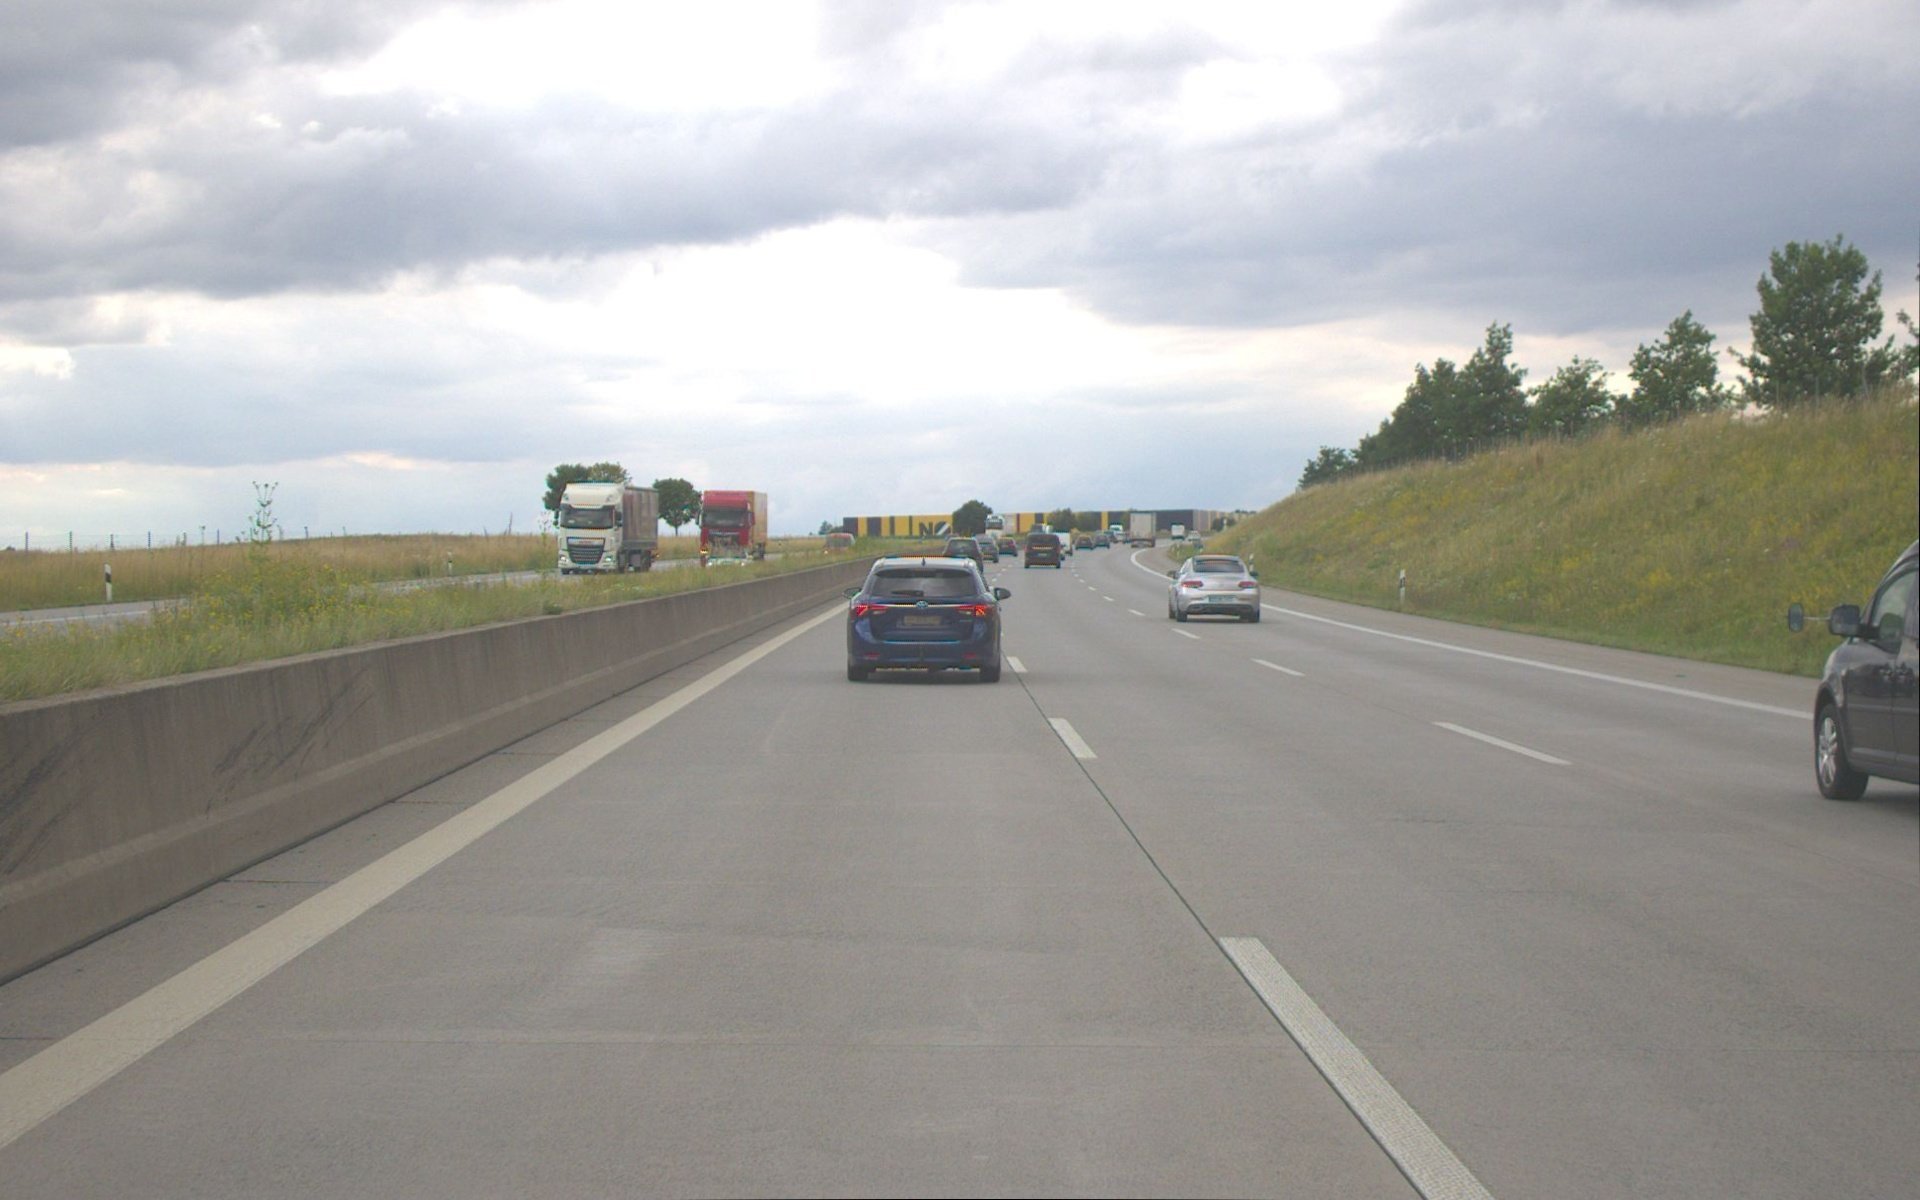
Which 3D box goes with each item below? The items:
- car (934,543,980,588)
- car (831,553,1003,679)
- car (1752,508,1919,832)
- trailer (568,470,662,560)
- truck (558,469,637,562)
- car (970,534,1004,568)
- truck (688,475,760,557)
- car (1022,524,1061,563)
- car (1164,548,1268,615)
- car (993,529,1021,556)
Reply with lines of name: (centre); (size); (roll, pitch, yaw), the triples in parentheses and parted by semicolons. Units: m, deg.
car: (-0.144, -1.574, 157.637); (2.046, 2.007, 4.000); (1, 0, 0)
car: (-0.460, 0.157, 40.847); (1.775, 1.408, 4.000); (0, 1, 3)
car: (6.300, 0.377, 20.395); (1.939, 1.803, 5.032); (0, 1, -1)
trailer: (-15.999, -3.965, 160.252); (2.839, 4.024, 13.908); (0, 1, 1)
truck: (-16.102, -3.754, 152.980); (2.839, 4.024, 5.511); (0, 1, 1)
car: (1.600, -2.962, 207.646); (1.993, 2.007, 4.000); (1, 0, 0)
truck: (-11.882, -4.250, 173.765); (2.816, 4.024, 10.569); (0, 1, 1)
car: (4.335, -2.982, 182.440); (1.993, 2.007, 4.000); (1, 0, 1)
car: (5.528, -0.414, 74.749); (1.788, 1.398, 4.222); (0, 1, -2)
car: (3.543, -4.335, 258.820); (1.993, 2.007, 4.000); (1, 0, 0)
